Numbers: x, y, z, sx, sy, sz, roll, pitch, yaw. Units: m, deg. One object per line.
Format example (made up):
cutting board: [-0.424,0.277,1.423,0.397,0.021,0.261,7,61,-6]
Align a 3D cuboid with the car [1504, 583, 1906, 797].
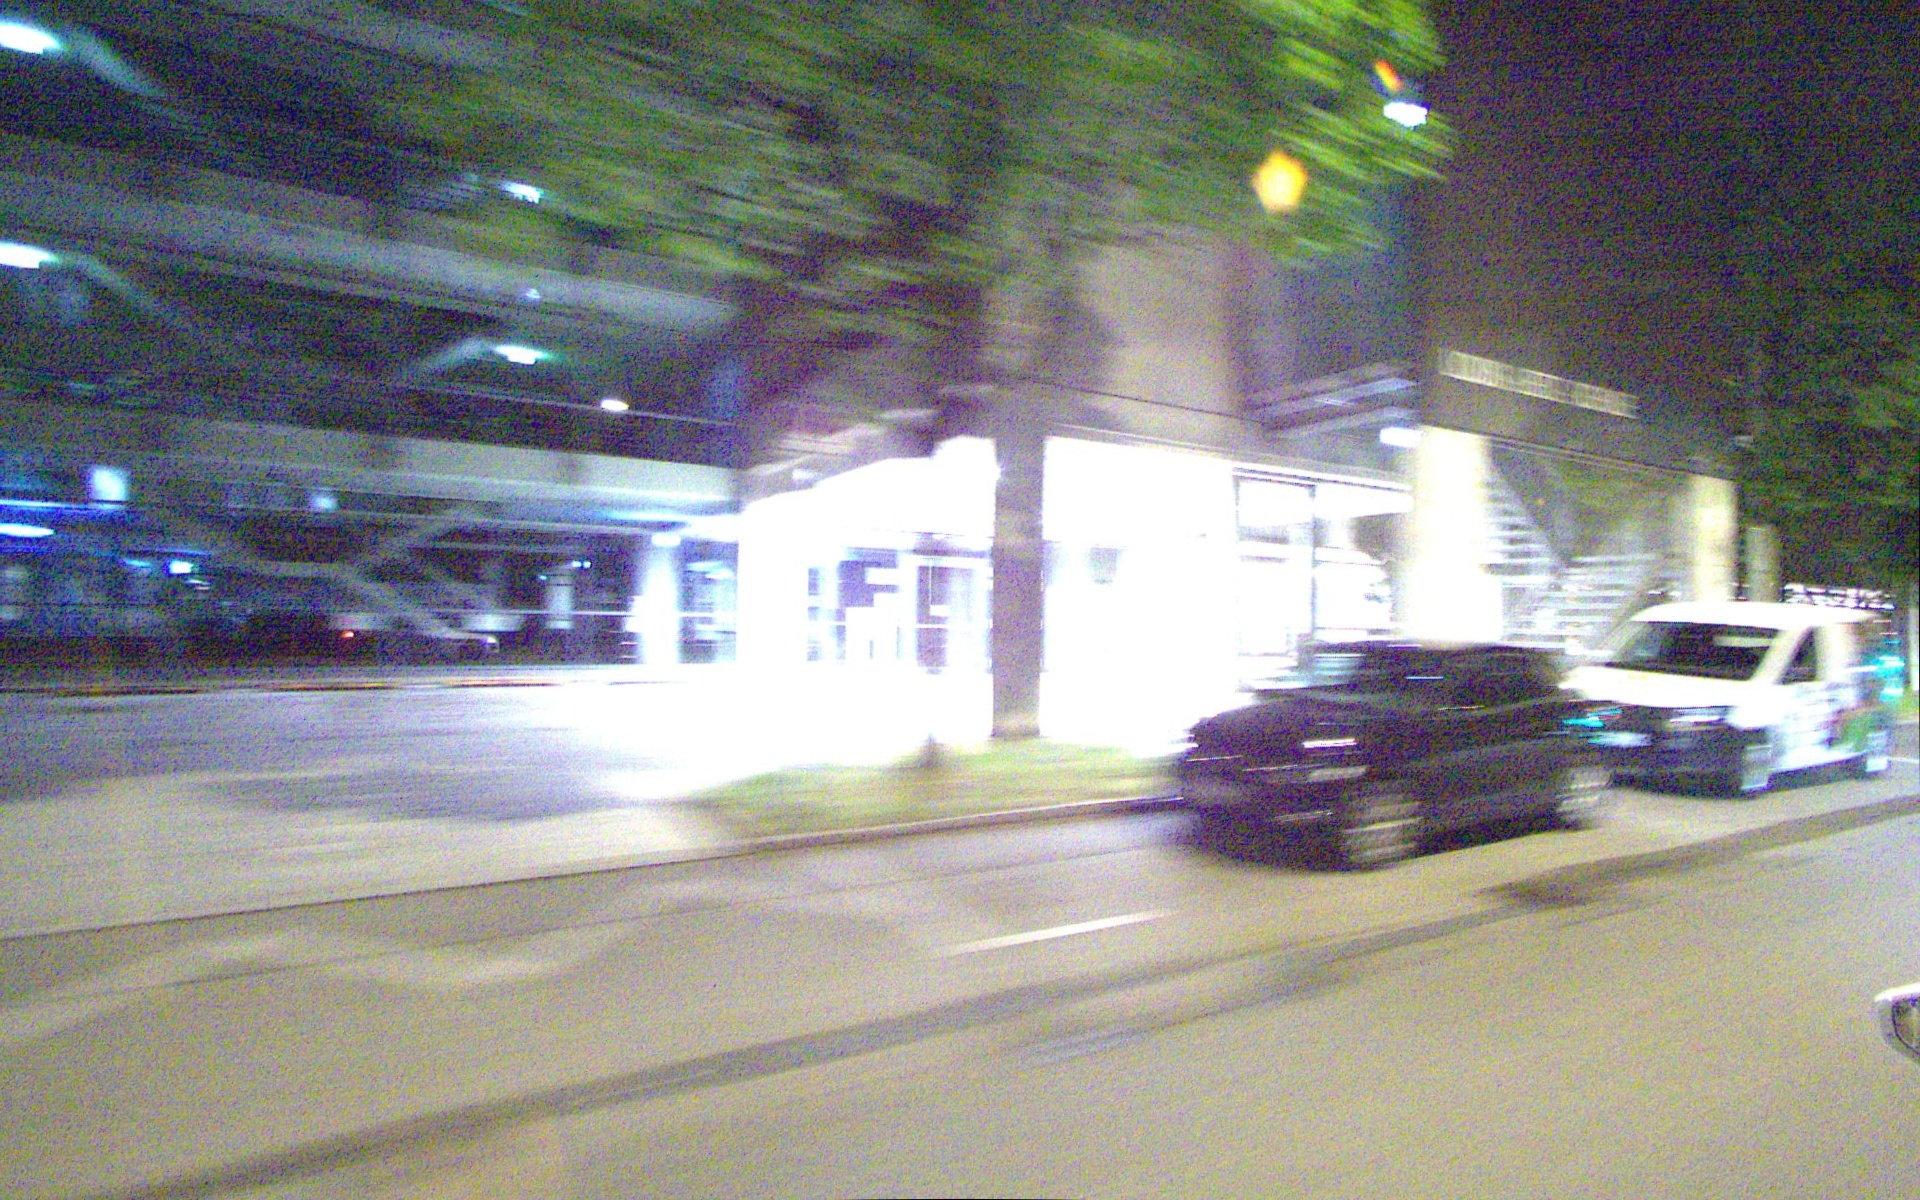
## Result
car: [7.918,0.814,10.620,4.159,1.836,1.814,1,2,-29]

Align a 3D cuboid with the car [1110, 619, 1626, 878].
car: [3.177,0.934,7.680,3.784,1.453,1.691,1,2,-31]
